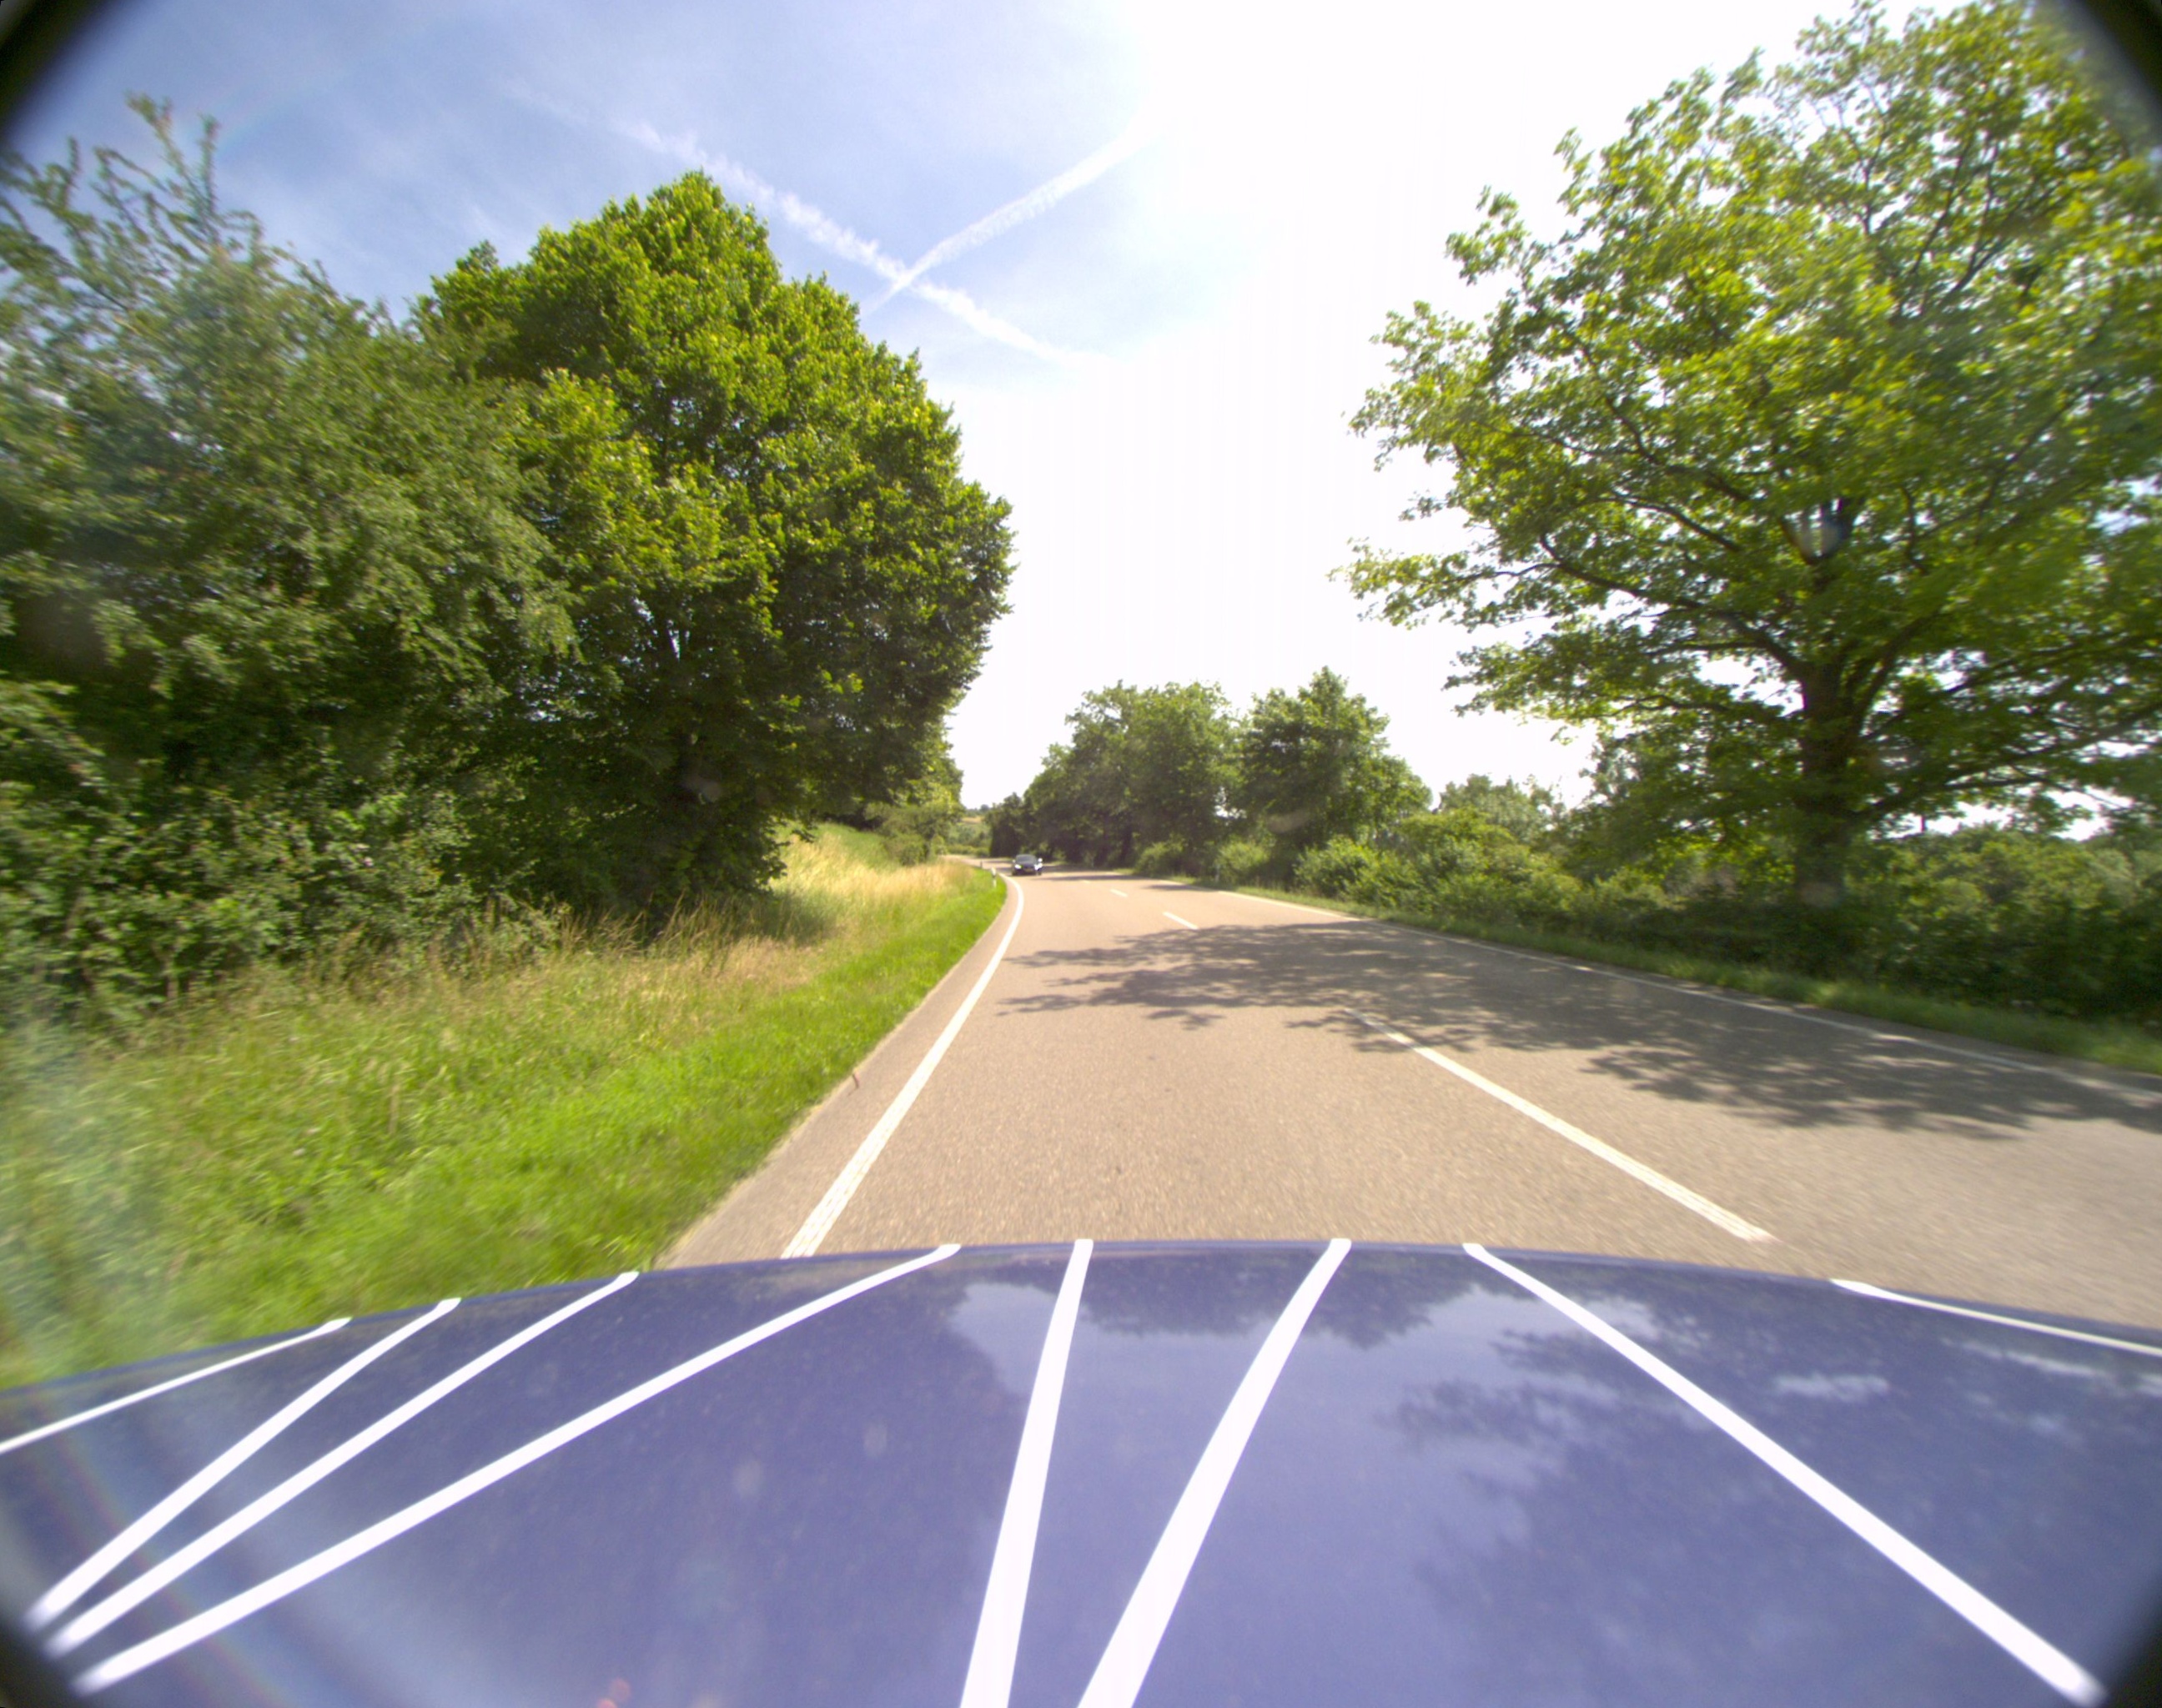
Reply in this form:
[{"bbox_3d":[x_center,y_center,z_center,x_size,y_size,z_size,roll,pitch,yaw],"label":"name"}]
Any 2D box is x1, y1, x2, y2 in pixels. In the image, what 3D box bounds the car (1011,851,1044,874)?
[{"bbox_3d":[-3.683,0.550,52.006,1.787,1.440,4.600,-1,0,-10],"label":"car"}]
